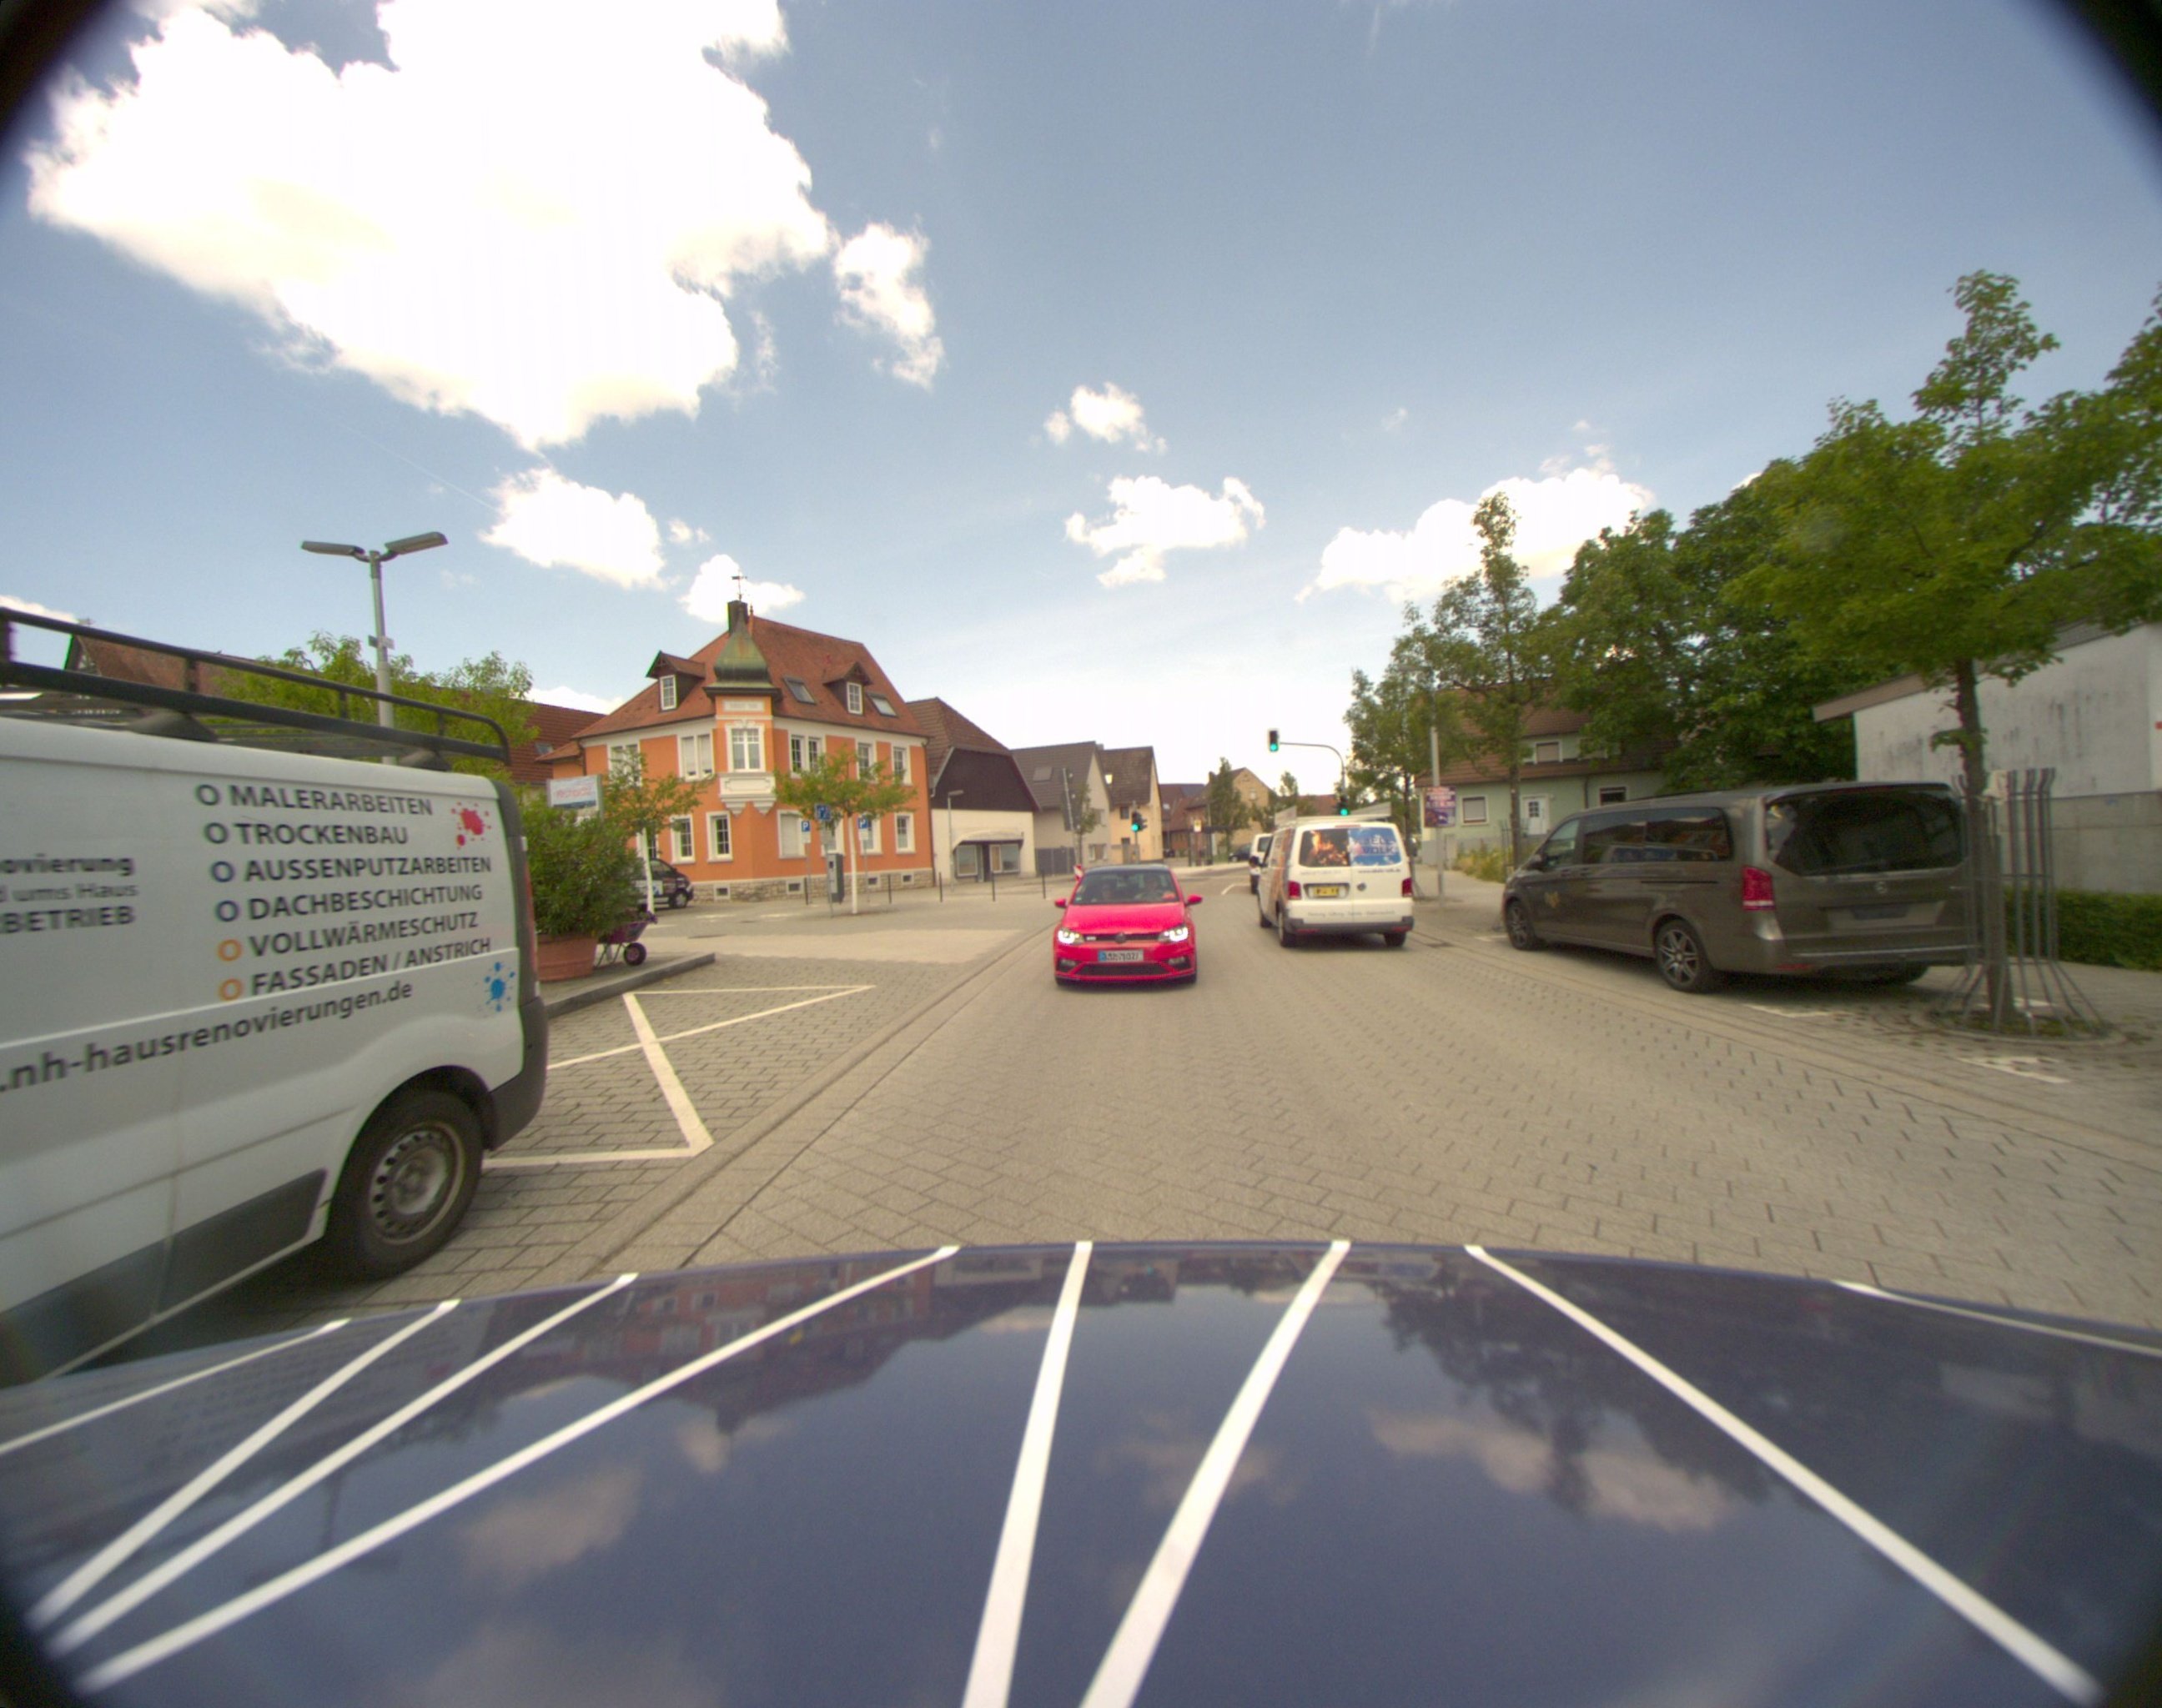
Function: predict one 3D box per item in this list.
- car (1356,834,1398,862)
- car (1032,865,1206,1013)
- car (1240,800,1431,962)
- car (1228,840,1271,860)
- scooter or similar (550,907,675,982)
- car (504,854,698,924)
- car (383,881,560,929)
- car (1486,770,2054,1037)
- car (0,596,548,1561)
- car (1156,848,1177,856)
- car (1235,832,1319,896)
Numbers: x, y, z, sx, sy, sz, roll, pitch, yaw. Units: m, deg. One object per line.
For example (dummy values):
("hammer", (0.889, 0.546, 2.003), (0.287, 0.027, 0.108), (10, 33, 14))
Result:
("car", (18.037, -0.396, 46.249), (1.734, 1.482, 4.507), (-2, 1, 29))
("car", (0.445, 0.932, 10.003), (1.782, 1.404, 3.887), (-2, 1, 1))
("car", (4.032, 0.356, 13.012), (1.892, 2.173, 5.031), (-3, 1, 5))
("car", (15.181, -0.326, 68.469), (3.543, 1.583, 1.668), (-3, 0, 18))
("scooter or similar", (-6.322, 1.206, 10.301), (1.143, 0.876, 0.816), (-3, 1, 7))
("car", (-16.215, 1.097, 26.134), (1.996, 2.002, 5.502), (-3, 0, 19))
("car", (-23.920, 1.946, 30.127), (1.996, 1.433, 5.132), (-3, 0, 19))
("car", (6.643, 0.381, 8.393), (1.990, 1.979, 5.046), (-3, 0, 6))
("car", (-3.379, 0.518, 0.923), (1.948, 2.164, 5.099), (-1, 0, -2))
("car", (13.018, -0.341, 115.338), (1.804, 1.053, 3.995), (-3, 1, -15))
("car", (6.531, 0.299, 25.816), (1.998, 1.869, 4.868), (-3, 0, 6))
